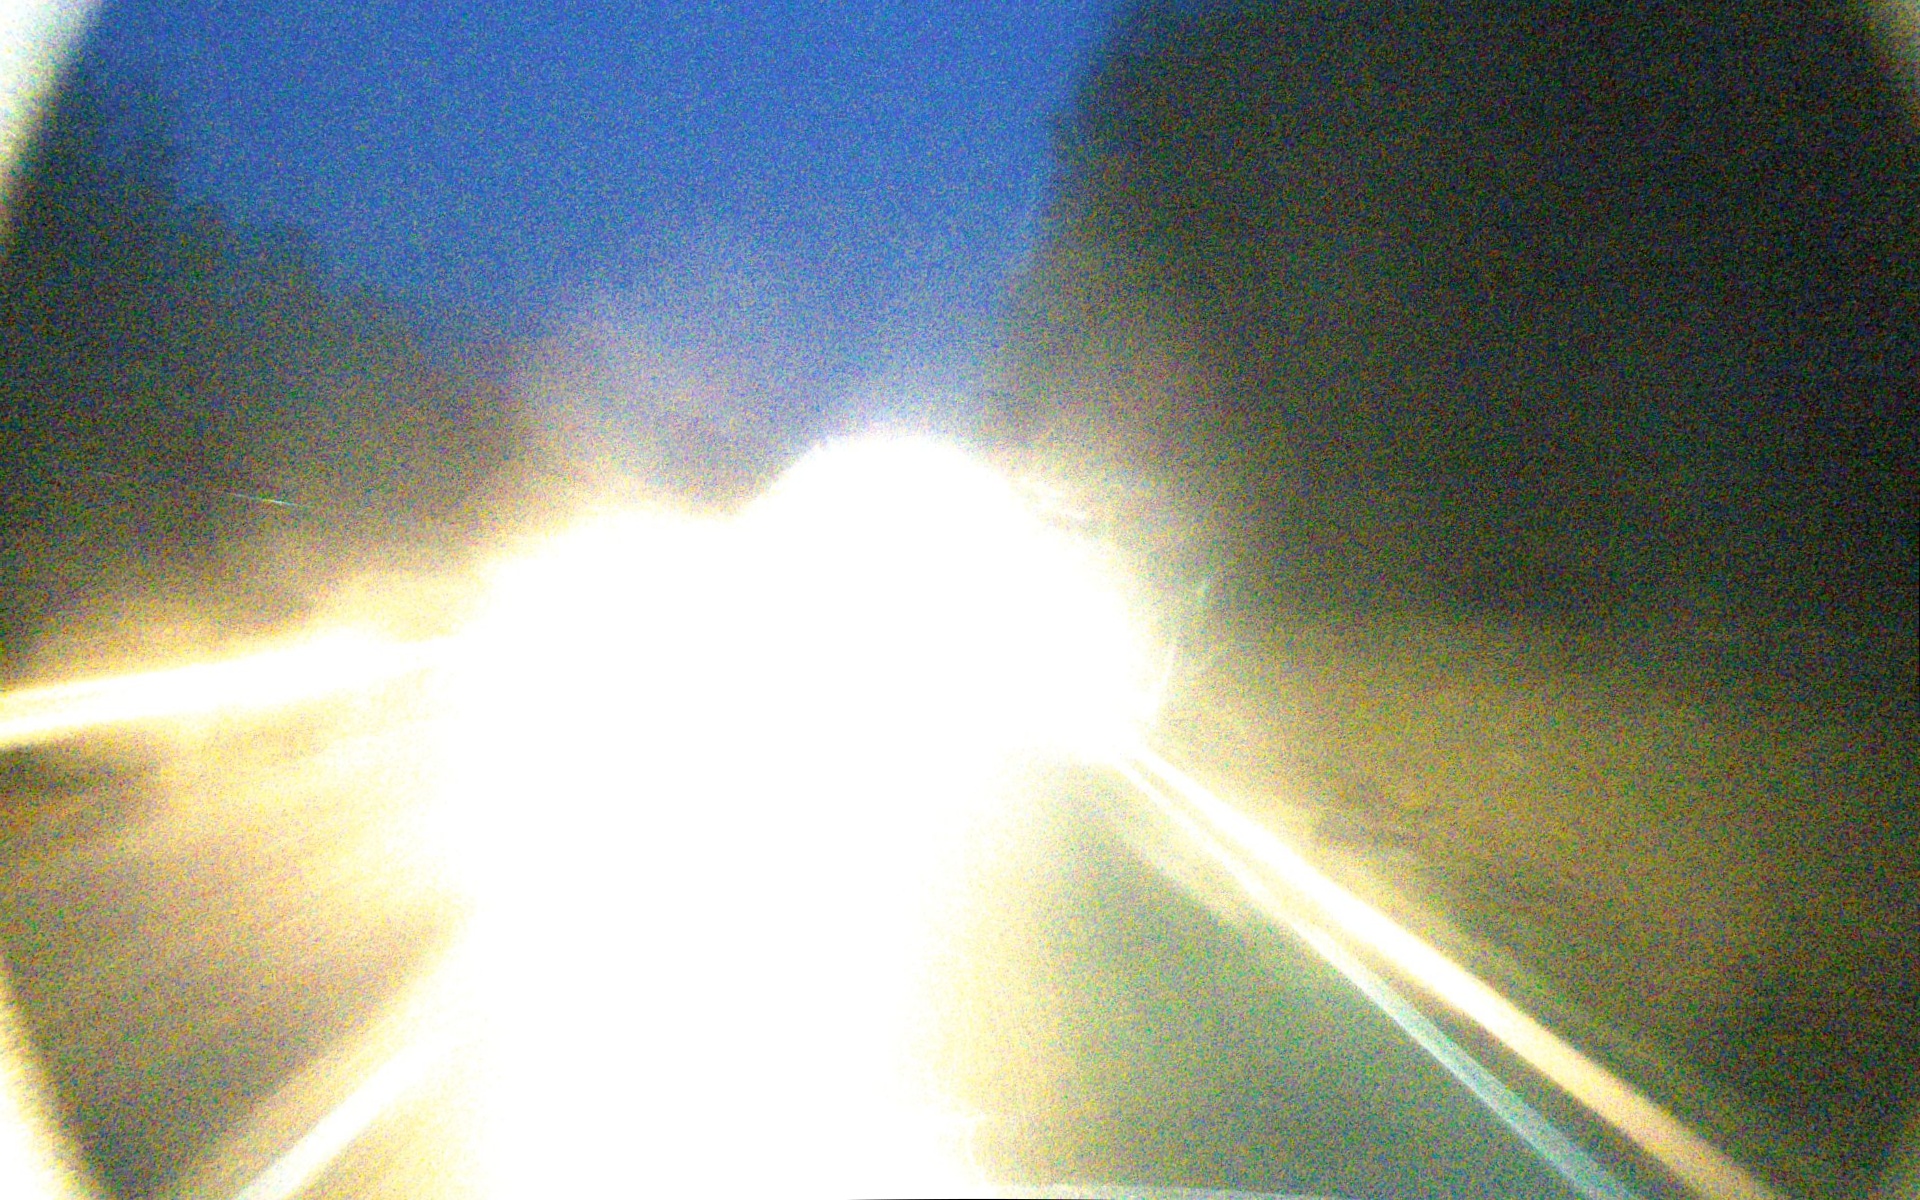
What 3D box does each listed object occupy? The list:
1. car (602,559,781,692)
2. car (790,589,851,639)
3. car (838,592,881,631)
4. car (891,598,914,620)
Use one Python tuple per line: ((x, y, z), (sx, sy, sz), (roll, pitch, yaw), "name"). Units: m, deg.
((-3.631, 0.290, 23.130), (1.772, 1.628, 4.630), (2, 1, -1), "car")
((-4.171, 0.404, 49.910), (1.611, 1.450, 3.657), (1, 0, -2), "car")
((-4.104, 0.441, 67.943), (1.612, 1.450, 4.121), (4, 0, -3), "car")
((-4.279, 0.644, 123.543), (1.681, 1.544, 3.877), (1, 0, -1), "car")
